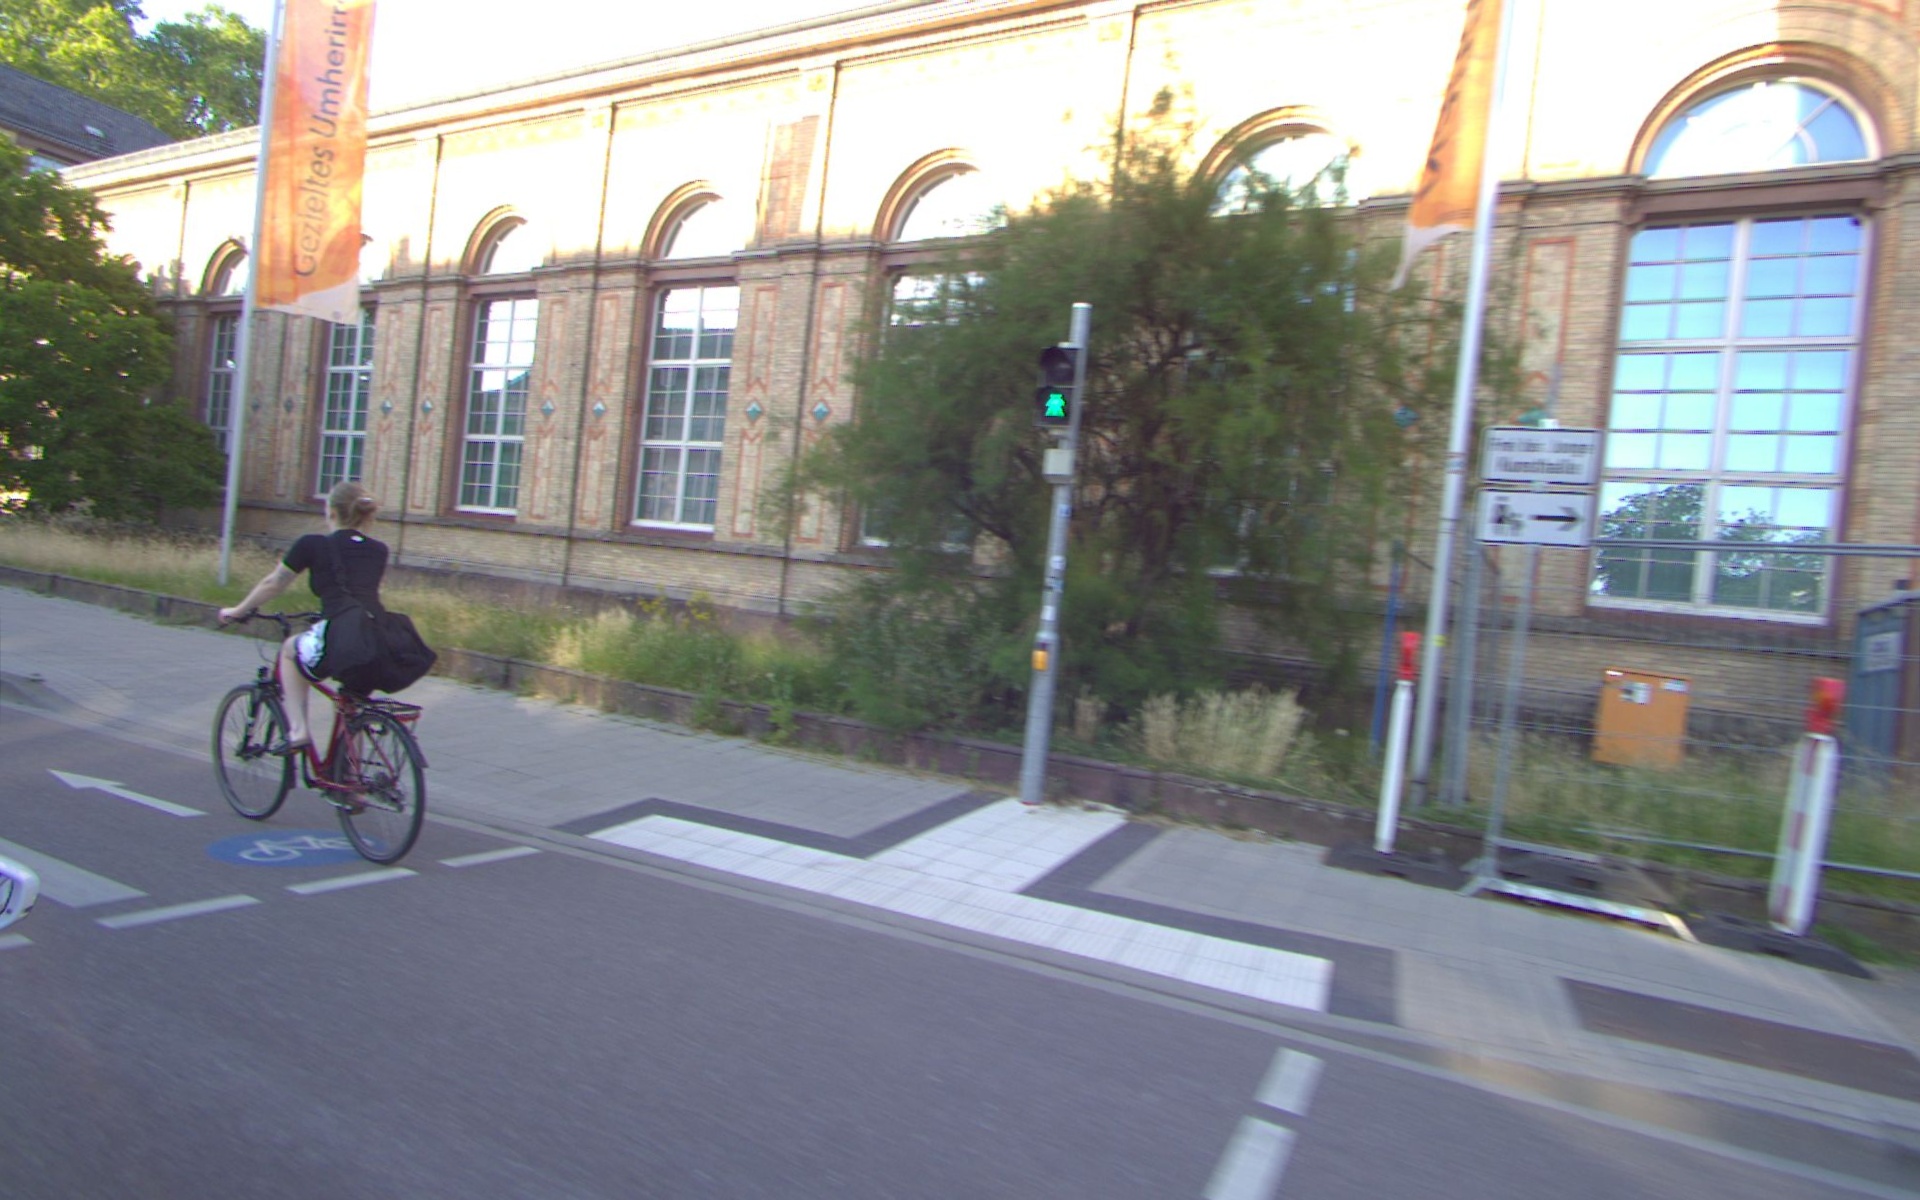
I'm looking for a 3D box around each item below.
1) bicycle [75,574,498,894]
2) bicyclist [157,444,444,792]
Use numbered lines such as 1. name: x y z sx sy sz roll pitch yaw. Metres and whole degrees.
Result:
1. bicycle: -3.362 0.579 4.985 2.032 1.170 0.713 6 -1 26
2. bicyclist: -3.231 0.078 4.959 0.835 1.520 0.718 6 0 25
